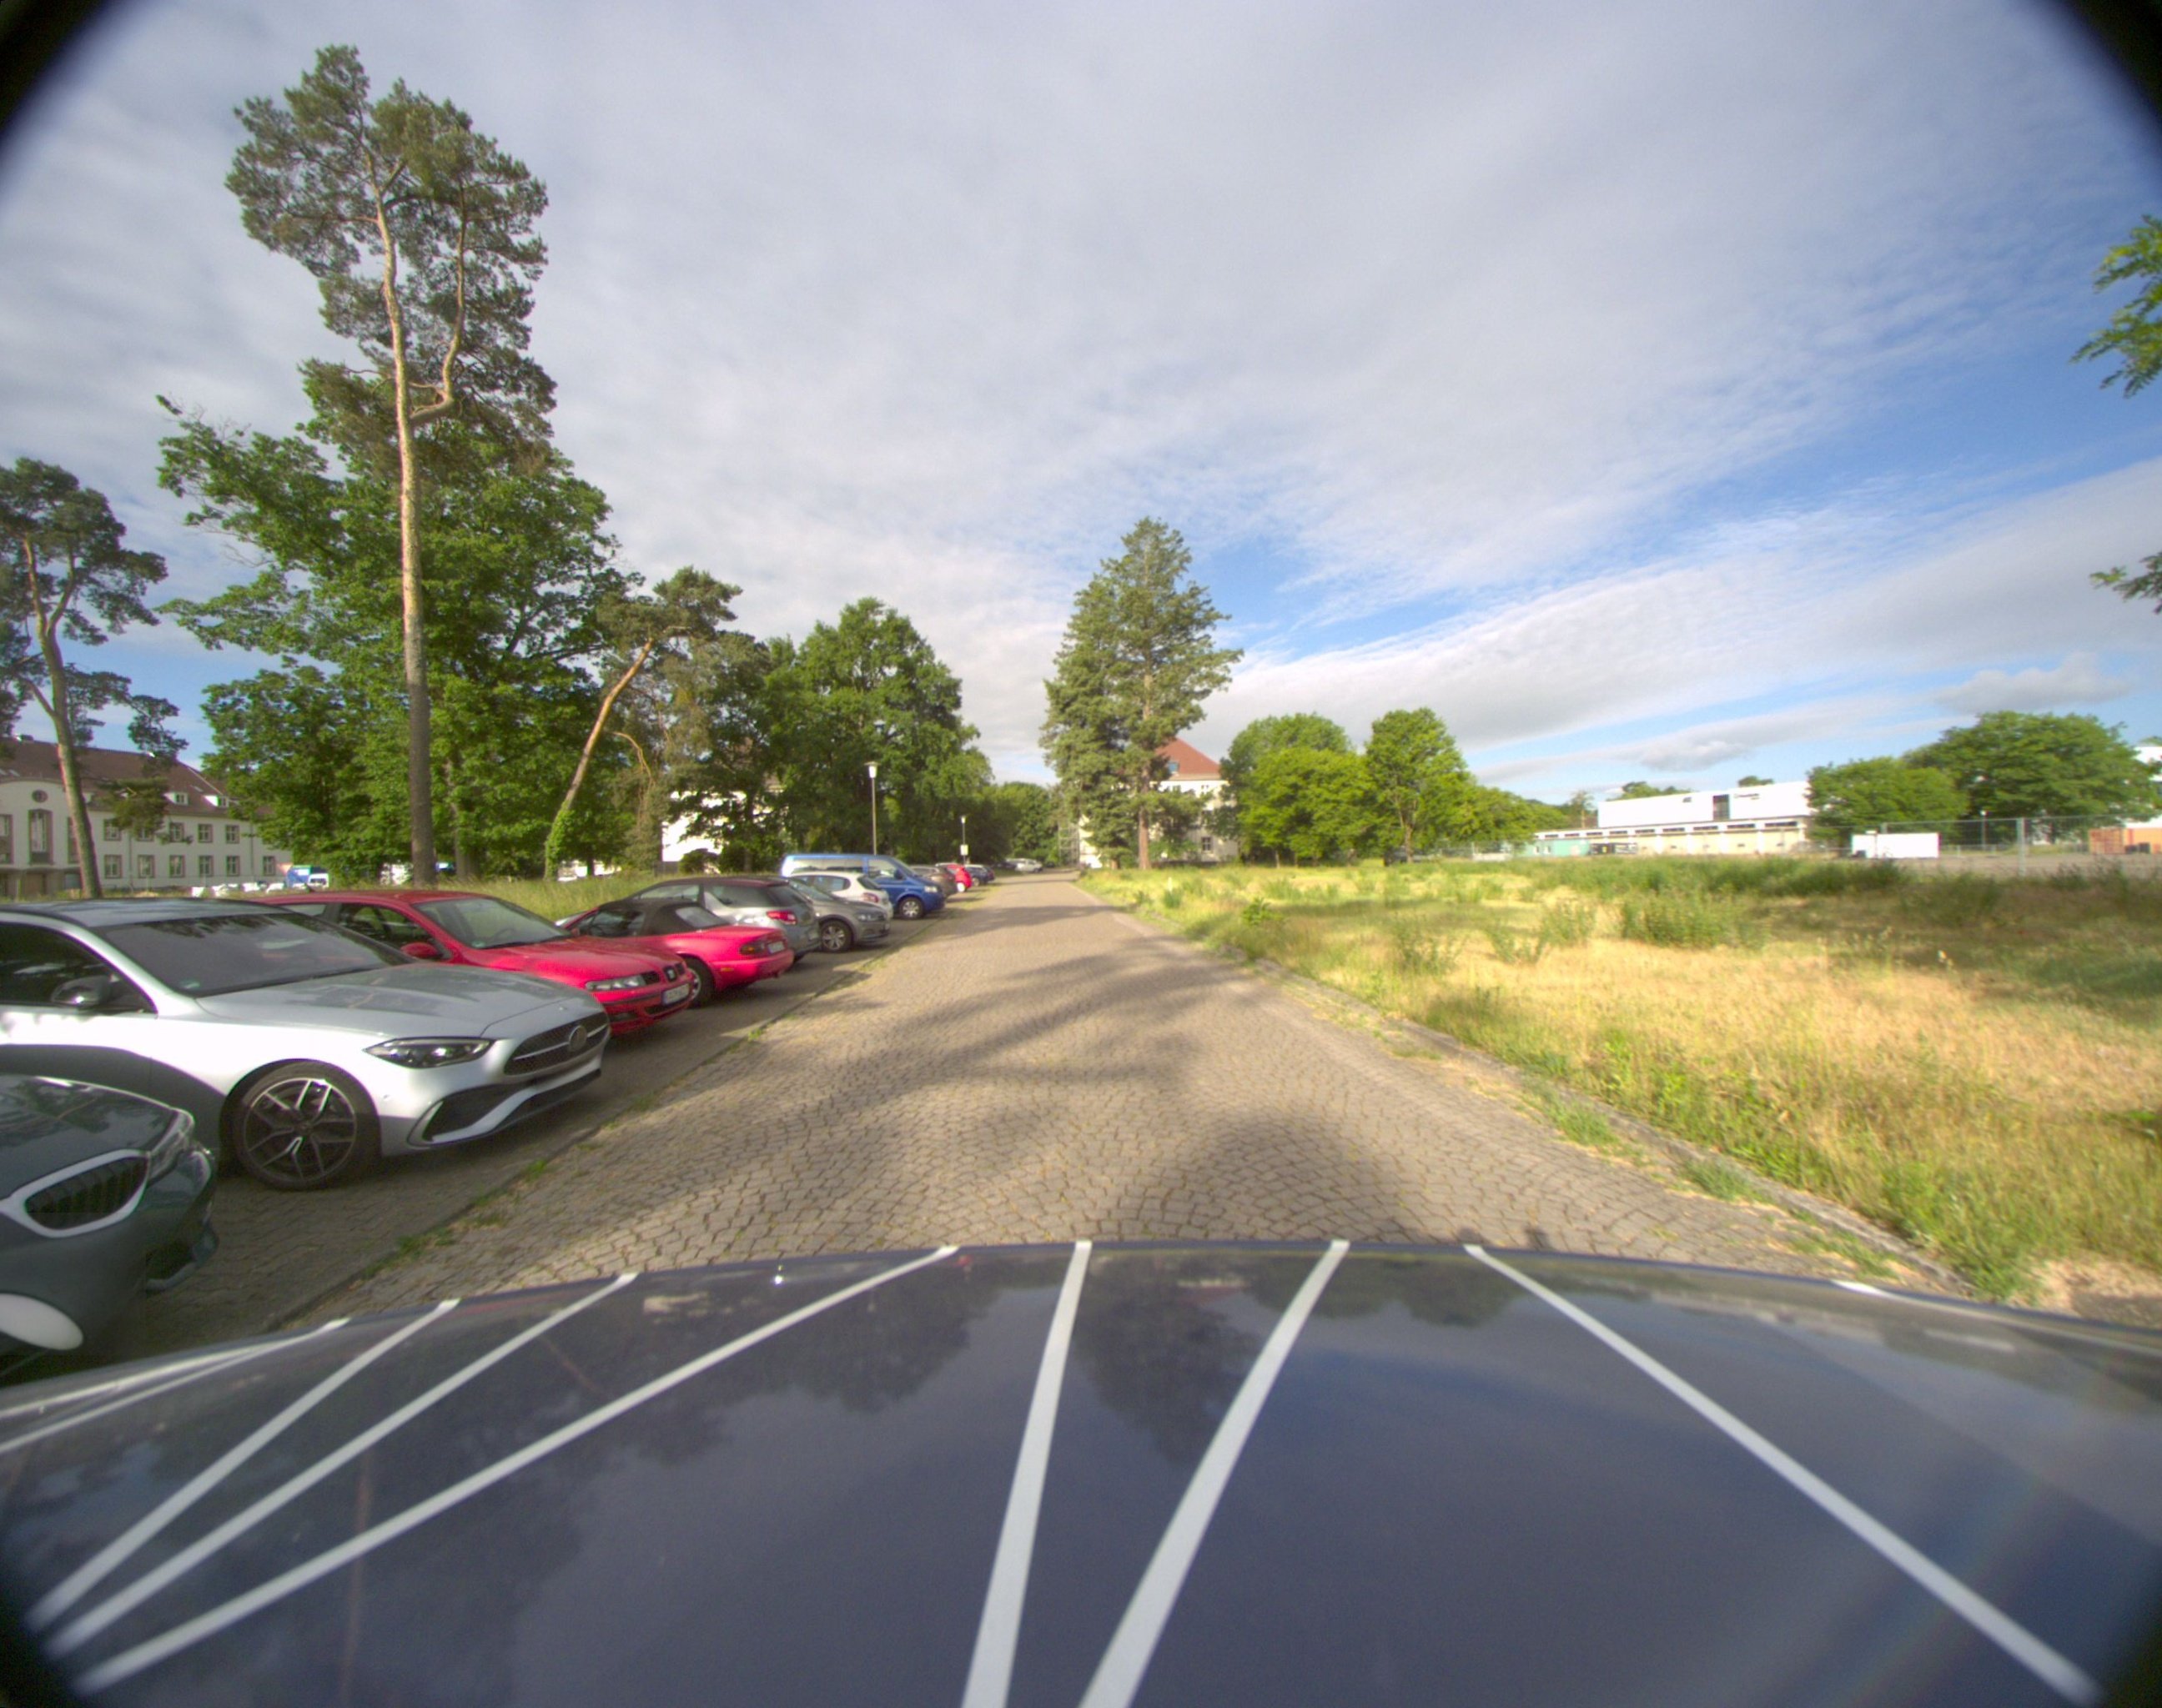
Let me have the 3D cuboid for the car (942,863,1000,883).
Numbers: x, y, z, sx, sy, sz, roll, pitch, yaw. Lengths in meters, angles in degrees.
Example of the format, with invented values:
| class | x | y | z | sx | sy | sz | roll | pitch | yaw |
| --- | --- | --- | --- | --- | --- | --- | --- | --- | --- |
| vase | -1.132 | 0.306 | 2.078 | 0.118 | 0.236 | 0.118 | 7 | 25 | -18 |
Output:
| class | x | y | z | sx | sy | sz | roll | pitch | yaw |
| --- | --- | --- | --- | --- | --- | --- | --- | --- | --- |
| car | -8.208 | 1.414 | 56.975 | 4.036 | 1.442 | 1.783 | -1 | 1 | -2 |

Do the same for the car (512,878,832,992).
| class | x | y | z | sx | sy | sz | roll | pitch | yaw |
| --- | --- | --- | --- | --- | --- | --- | --- | --- | --- |
| car | -6.126 | 1.183 | 11.784 | 3.962 | 1.486 | 1.771 | -1 | 1 | -3 |

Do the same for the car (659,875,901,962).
| class | x | y | z | sx | sy | sz | roll | pitch | yaw |
| --- | --- | --- | --- | --- | --- | --- | --- | --- | --- |
| car | -5.671 | 1.195 | 14.741 | 3.962 | 1.459 | 1.830 | -1 | 1 | -3 |

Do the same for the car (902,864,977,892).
| class | x | y | z | sx | sy | sz | roll | pitch | yaw |
| --- | --- | --- | --- | --- | --- | --- | --- | --- | --- |
| car | -7.783 | 1.297 | 41.993 | 3.888 | 1.464 | 1.686 | 0 | 1 | -5 |

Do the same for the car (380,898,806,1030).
| class | x | y | z | sx | sy | sz | roll | pitch | yaw |
| --- | --- | --- | --- | --- | --- | --- | --- | --- | --- |
| car | -5.615 | 1.242 | 9.174 | 3.962 | 1.253 | 1.726 | -1 | 1 | -3 |

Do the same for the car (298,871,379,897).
| class | x | y | z | sx | sy | sz | roll | pitch | yaw |
| --- | --- | --- | --- | --- | --- | --- | --- | --- | --- |
| car | -73.266 | 2.914 | 75.135 | 2.167 | 2.286 | 5.961 | -1 | 0 | -1 |

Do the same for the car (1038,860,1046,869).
| class | x | y | z | sx | sy | sz | roll | pitch | yaw |
| --- | --- | --- | --- | --- | --- | --- | --- | --- | --- |
| car | -8.865 | 2.285 | 172.187 | 1.875 | 1.887 | 3.998 | -2 | 1 | -4 |

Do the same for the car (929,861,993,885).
| class | x | y | z | sx | sy | sz | roll | pitch | yaw |
| --- | --- | --- | --- | --- | --- | --- | --- | --- | --- |
| car | -8.213 | 1.285 | 52.269 | 4.137 | 1.560 | 1.746 | -1 | 1 | -4 |

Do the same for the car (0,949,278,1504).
| class | x | y | z | sx | sy | sz | roll | pitch | yaw |
| --- | --- | --- | --- | --- | --- | --- | --- | --- | --- |
| car | -5.305 | 1.141 | 1.754 | 4.521 | 1.465 | 1.894 | -1 | 1 | -8 |

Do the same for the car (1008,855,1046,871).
| class | x | y | z | sx | sy | sz | roll | pitch | yaw |
| --- | --- | --- | --- | --- | --- | --- | --- | --- | --- |
| car | -7.530 | 1.260 | 106.060 | 5.080 | 2.029 | 1.999 | -2 | 0 | -4 |

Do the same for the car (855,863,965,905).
| class | x | y | z | sx | sy | sz | roll | pitch | yaw |
| --- | --- | --- | --- | --- | --- | --- | --- | --- | --- |
| car | -7.070 | 1.226 | 31.759 | 4.203 | 1.579 | 1.877 | -1 | 1 | -5 |

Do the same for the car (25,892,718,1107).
| class | x | y | z | sx | sy | sz | roll | pitch | yaw |
| --- | --- | --- | --- | --- | --- | --- | --- | --- | --- |
| car | -5.857 | 1.159 | 6.776 | 4.353 | 1.465 | 1.739 | -1 | 1 | -4 |

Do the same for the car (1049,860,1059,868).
| class | x | y | z | sx | sy | sz | roll | pitch | yaw |
| --- | --- | --- | --- | --- | --- | --- | --- | --- | --- |
| car | -6.154 | 2.272 | 172.581 | 1.999 | 1.762 | 4.107 | -2 | 1 | -4 |

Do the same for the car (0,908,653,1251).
| class | x | y | z | sx | sy | sz | roll | pitch | yaw |
| --- | --- | --- | --- | --- | --- | --- | --- | --- | --- |
| car | -5.373 | 1.162 | 4.533 | 4.519 | 1.465 | 1.849 | -1 | 1 | -4 |

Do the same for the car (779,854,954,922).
| class | x | y | z | sx | sy | sz | roll | pitch | yaw |
| --- | --- | --- | --- | --- | --- | --- | --- | --- | --- |
| car | -6.339 | 0.992 | 22.921 | 4.747 | 1.917 | 1.991 | 0 | 1 | -4 |

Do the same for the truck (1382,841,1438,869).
| class | x | y | z | sx | sy | sz | roll | pitch | yaw |
| --- | --- | --- | --- | --- | --- | --- | --- | --- | --- |
| truck | 32.614 | 0.149 | 75.707 | 2.418 | 2.571 | 6.958 | -2 | 0 | -1 |

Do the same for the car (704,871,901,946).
| class | x | y | z | sx | sy | sz | roll | pitch | yaw |
| --- | --- | --- | --- | --- | --- | --- | --- | --- | --- |
| car | -6.299 | 1.216 | 17.564 | 3.885 | 1.521 | 1.807 | -1 | 1 | -3 |
